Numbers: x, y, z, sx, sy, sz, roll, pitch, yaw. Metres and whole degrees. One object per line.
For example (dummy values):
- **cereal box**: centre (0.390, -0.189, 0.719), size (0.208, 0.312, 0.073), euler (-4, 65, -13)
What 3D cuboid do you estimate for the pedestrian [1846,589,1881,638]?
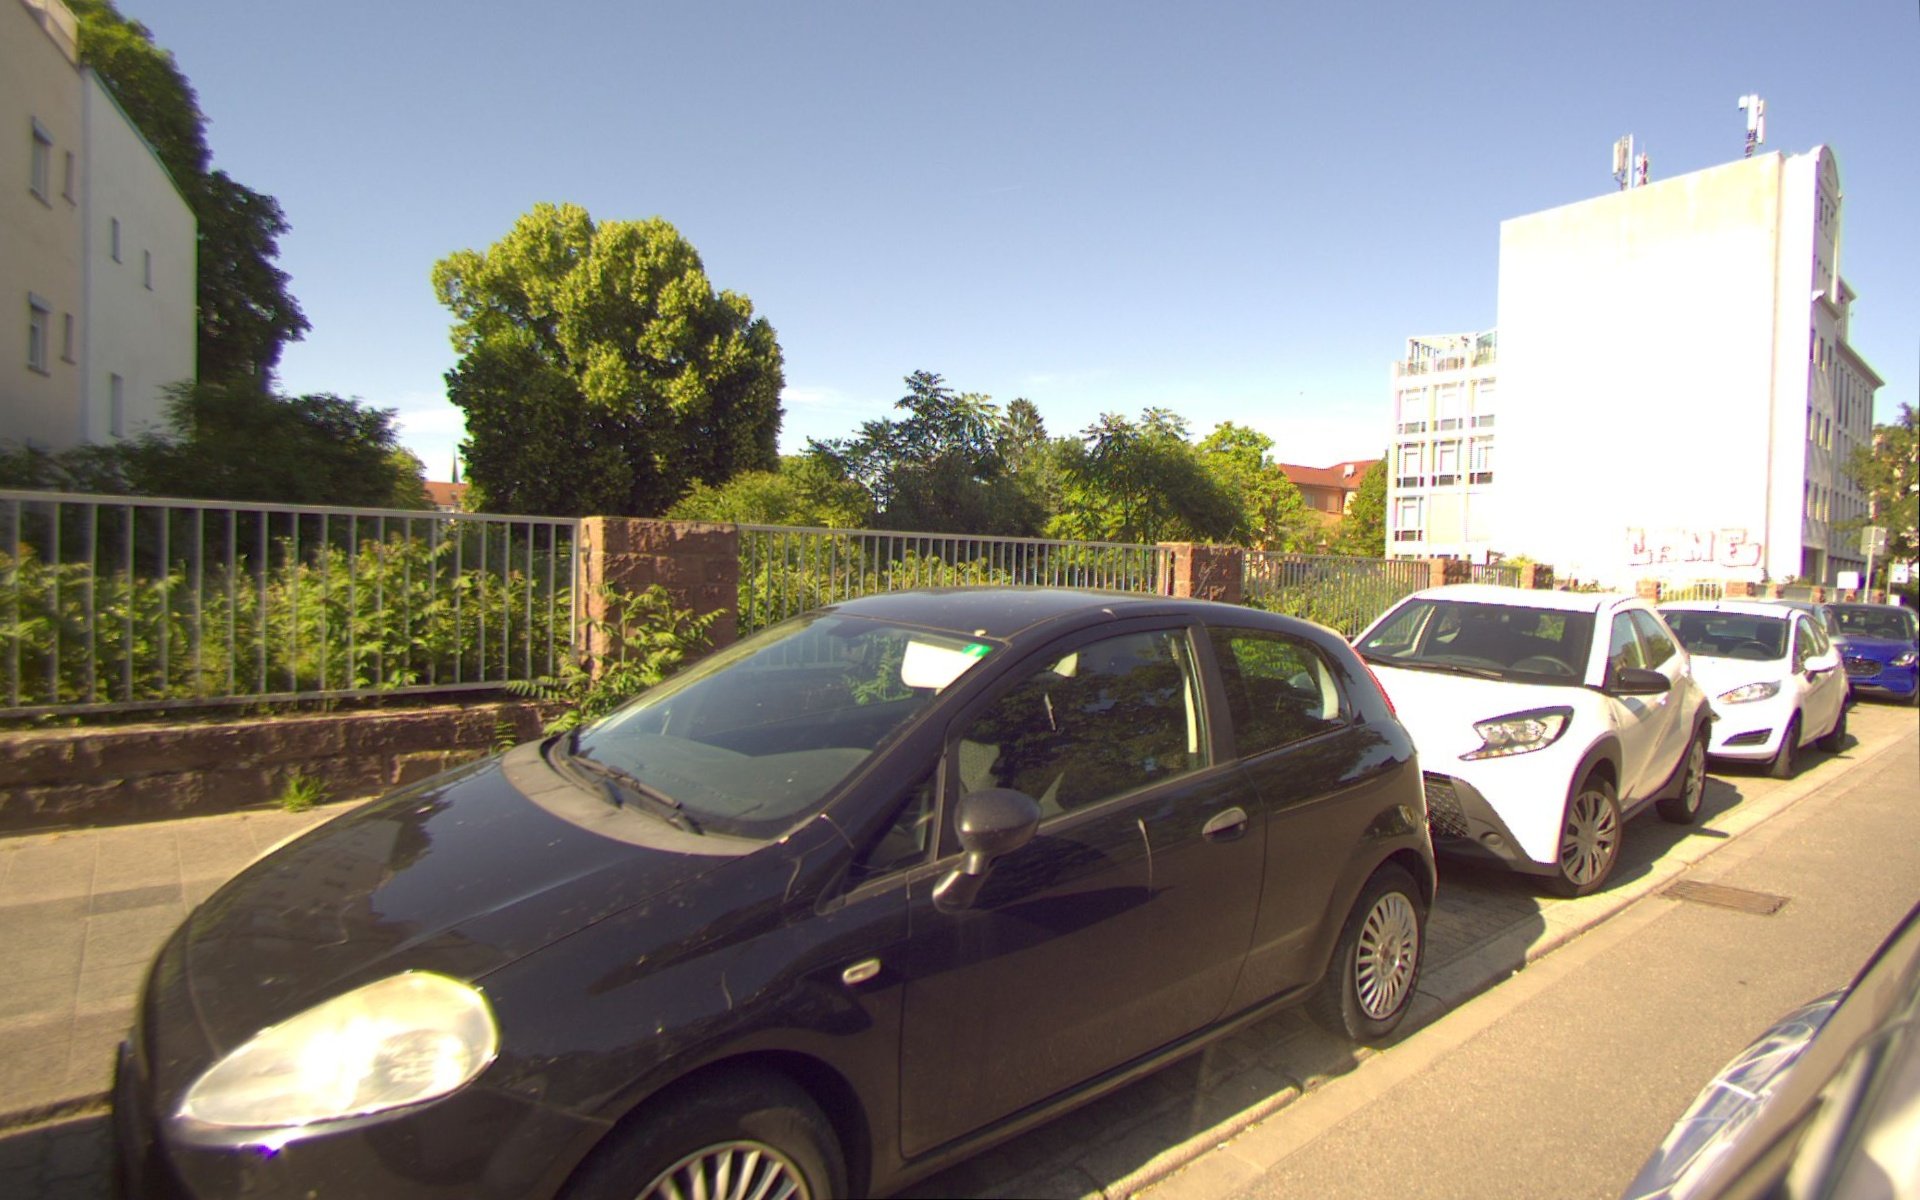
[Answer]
- **pedestrian**: centre (29.925, 0.447, 33.528), size (0.881, 1.603, 0.745), euler (0, 0, -40)

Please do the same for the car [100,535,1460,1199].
- **car**: centre (-0.158, 0.602, 3.059), size (3.709, 1.411, 1.671), euler (0, 2, -41)

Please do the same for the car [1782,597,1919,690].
- **car**: centre (14.696, 0.636, 16.237), size (3.833, 1.196, 1.672), euler (0, 5, -42)

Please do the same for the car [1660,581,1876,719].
- **car**: centre (10.988, 0.570, 13.672), size (3.919, 1.477, 1.671), euler (0, 5, -44)

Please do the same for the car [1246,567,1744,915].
- **car**: centre (3.521, 0.614, 6.380), size (3.599, 1.538, 1.670), euler (0, 2, -43)

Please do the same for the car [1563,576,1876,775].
- **car**: centre (7.429, 0.594, 9.784), size (3.594, 1.463, 1.612), euler (0, 5, -41)
